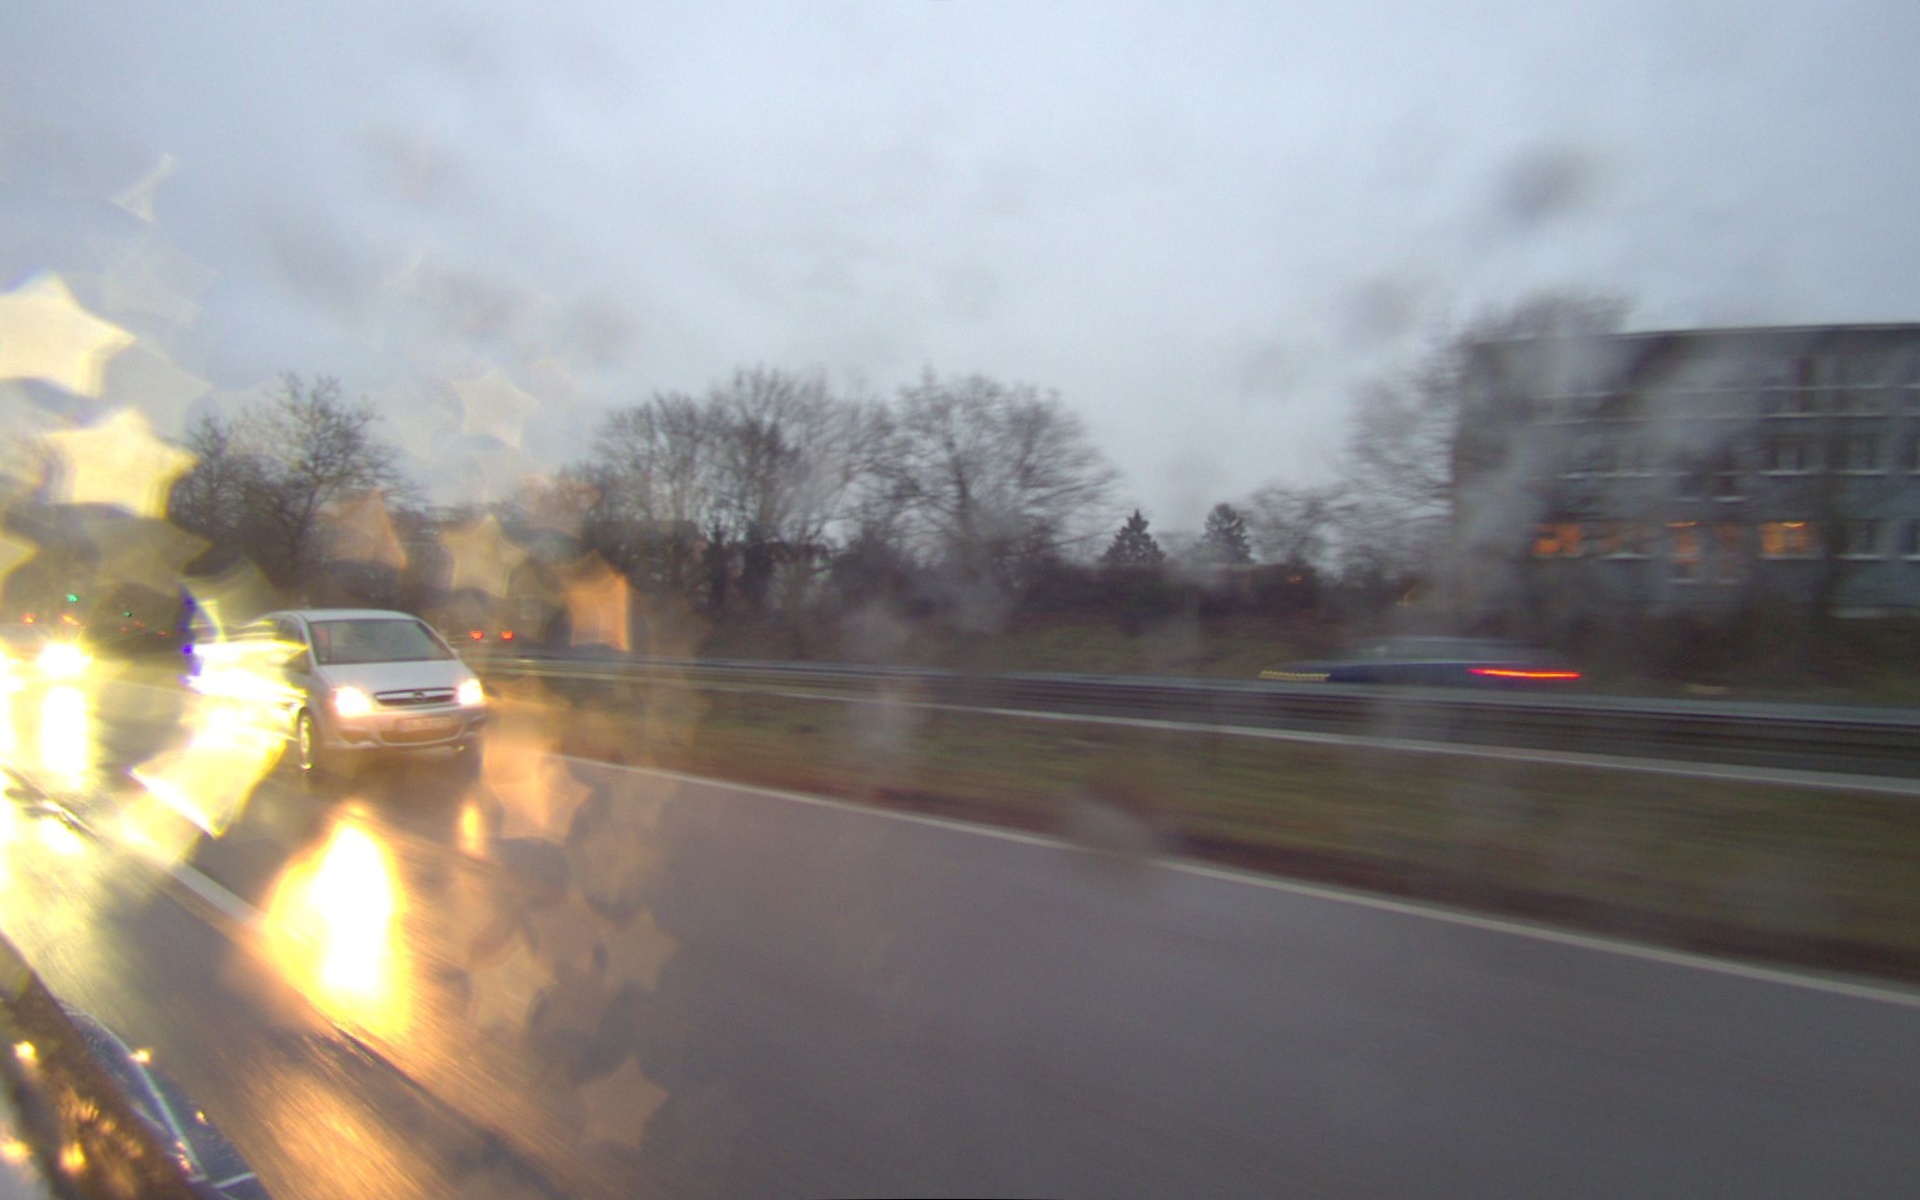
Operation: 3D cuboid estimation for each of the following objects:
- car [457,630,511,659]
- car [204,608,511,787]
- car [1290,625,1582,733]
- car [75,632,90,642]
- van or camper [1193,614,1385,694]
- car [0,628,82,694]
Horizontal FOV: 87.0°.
[{"bbox_3d":[-28.968,2.652,61.520,1.761,1.621,4.688,1,-2,-41],"label":"car"},{"bbox_3d":[-6.773,0.919,11.192,4.164,1.611,1.742,-1,-2,42],"label":"car"},{"bbox_3d":[7.806,1.200,16.846,4.054,1.545,1.763,-1,-2,45],"label":"car"},{"bbox_3d":[-149.025,6.299,171.919,3.958,1.511,1.630,-1,-2,45],"label":"car"},{"bbox_3d":[7.974,1.250,24.792,4.210,1.797,1.630,-1,-2,45],"label":"van or camper"},{"bbox_3d":[-24.481,1.532,26.347,4.145,1.542,1.999,-1,-2,43],"label":"car"}]
